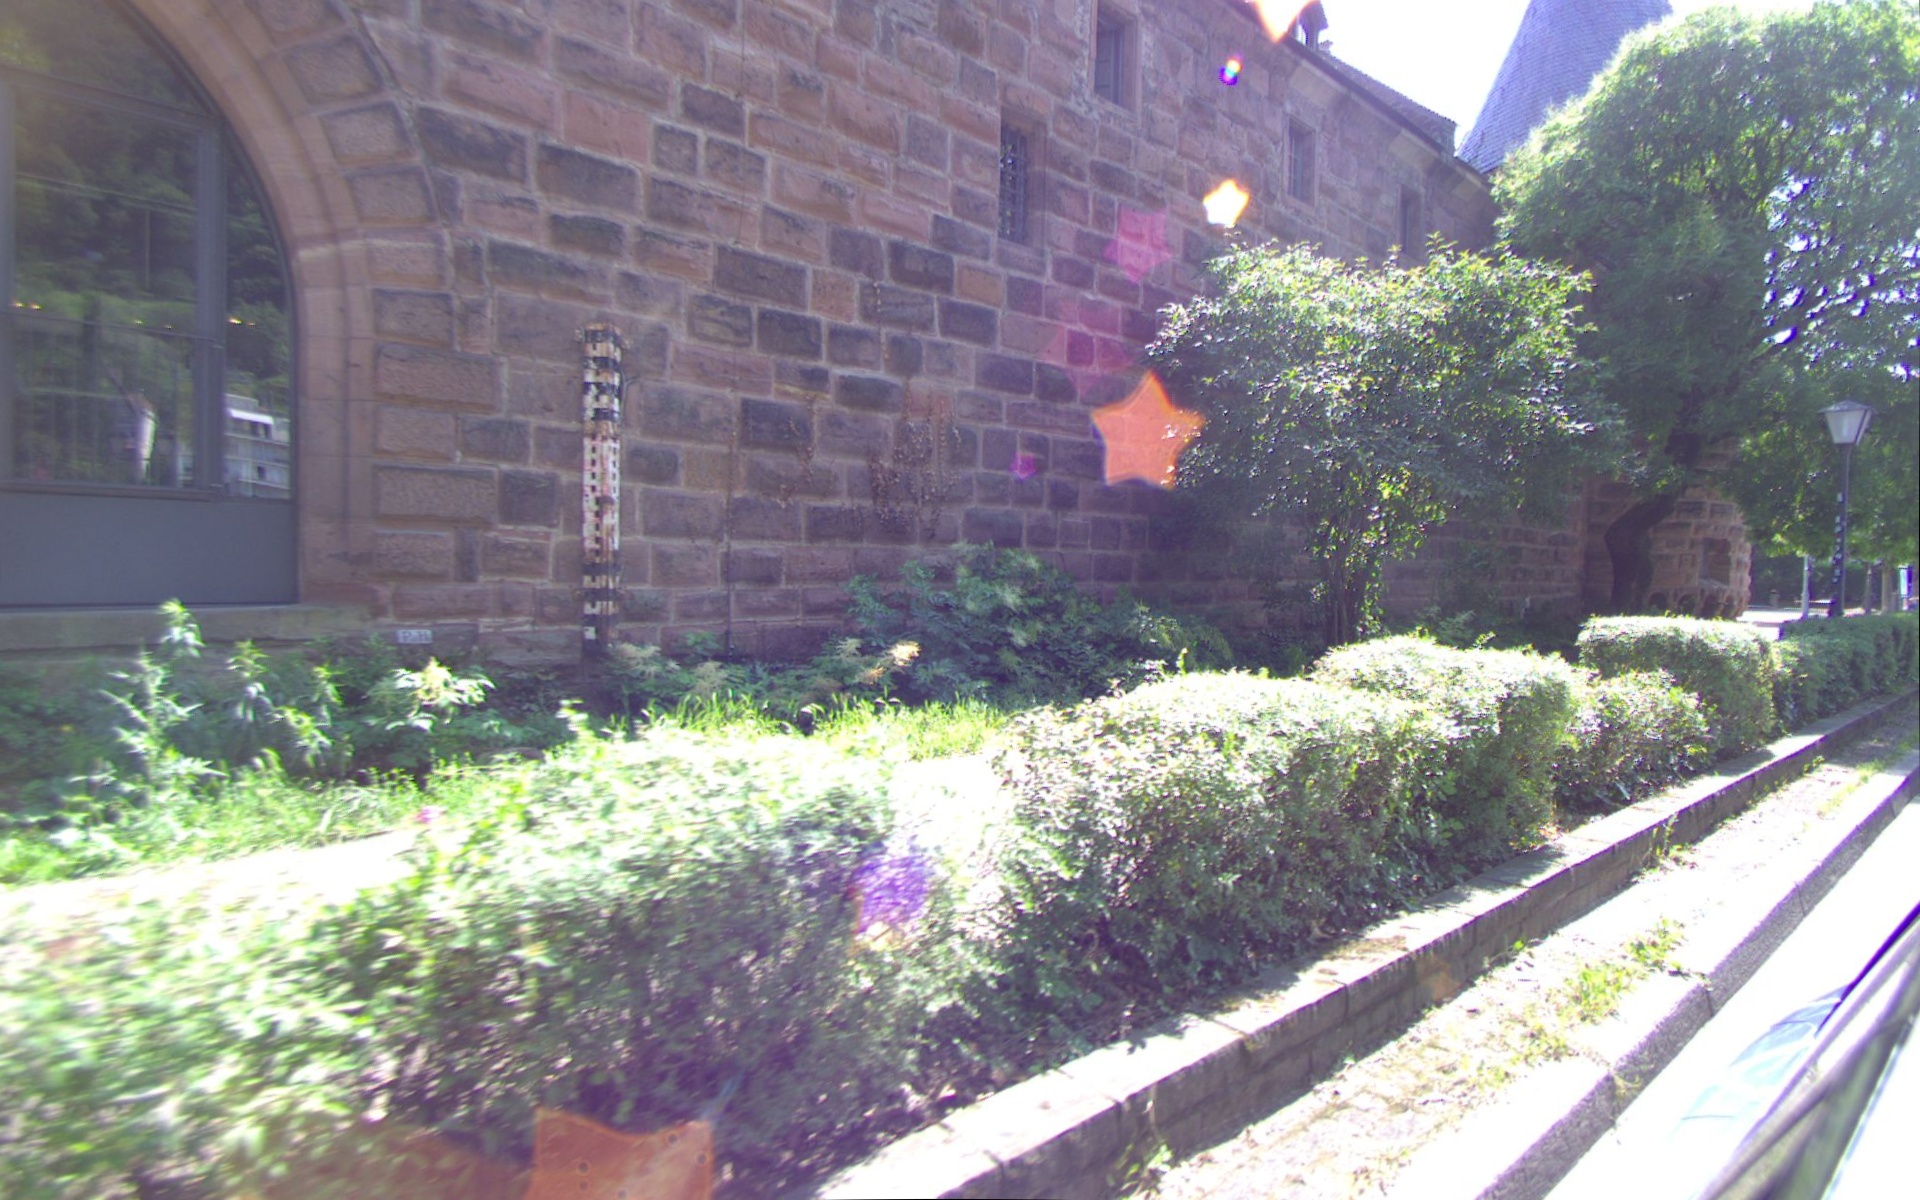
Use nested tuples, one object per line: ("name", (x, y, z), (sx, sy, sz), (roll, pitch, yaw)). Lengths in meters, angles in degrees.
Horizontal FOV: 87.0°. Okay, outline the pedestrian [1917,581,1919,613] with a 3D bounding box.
("pedestrian", (37.097, -0.116, 38.690), (0.733, 1.208, 0.632), (-1, 0, -39))
